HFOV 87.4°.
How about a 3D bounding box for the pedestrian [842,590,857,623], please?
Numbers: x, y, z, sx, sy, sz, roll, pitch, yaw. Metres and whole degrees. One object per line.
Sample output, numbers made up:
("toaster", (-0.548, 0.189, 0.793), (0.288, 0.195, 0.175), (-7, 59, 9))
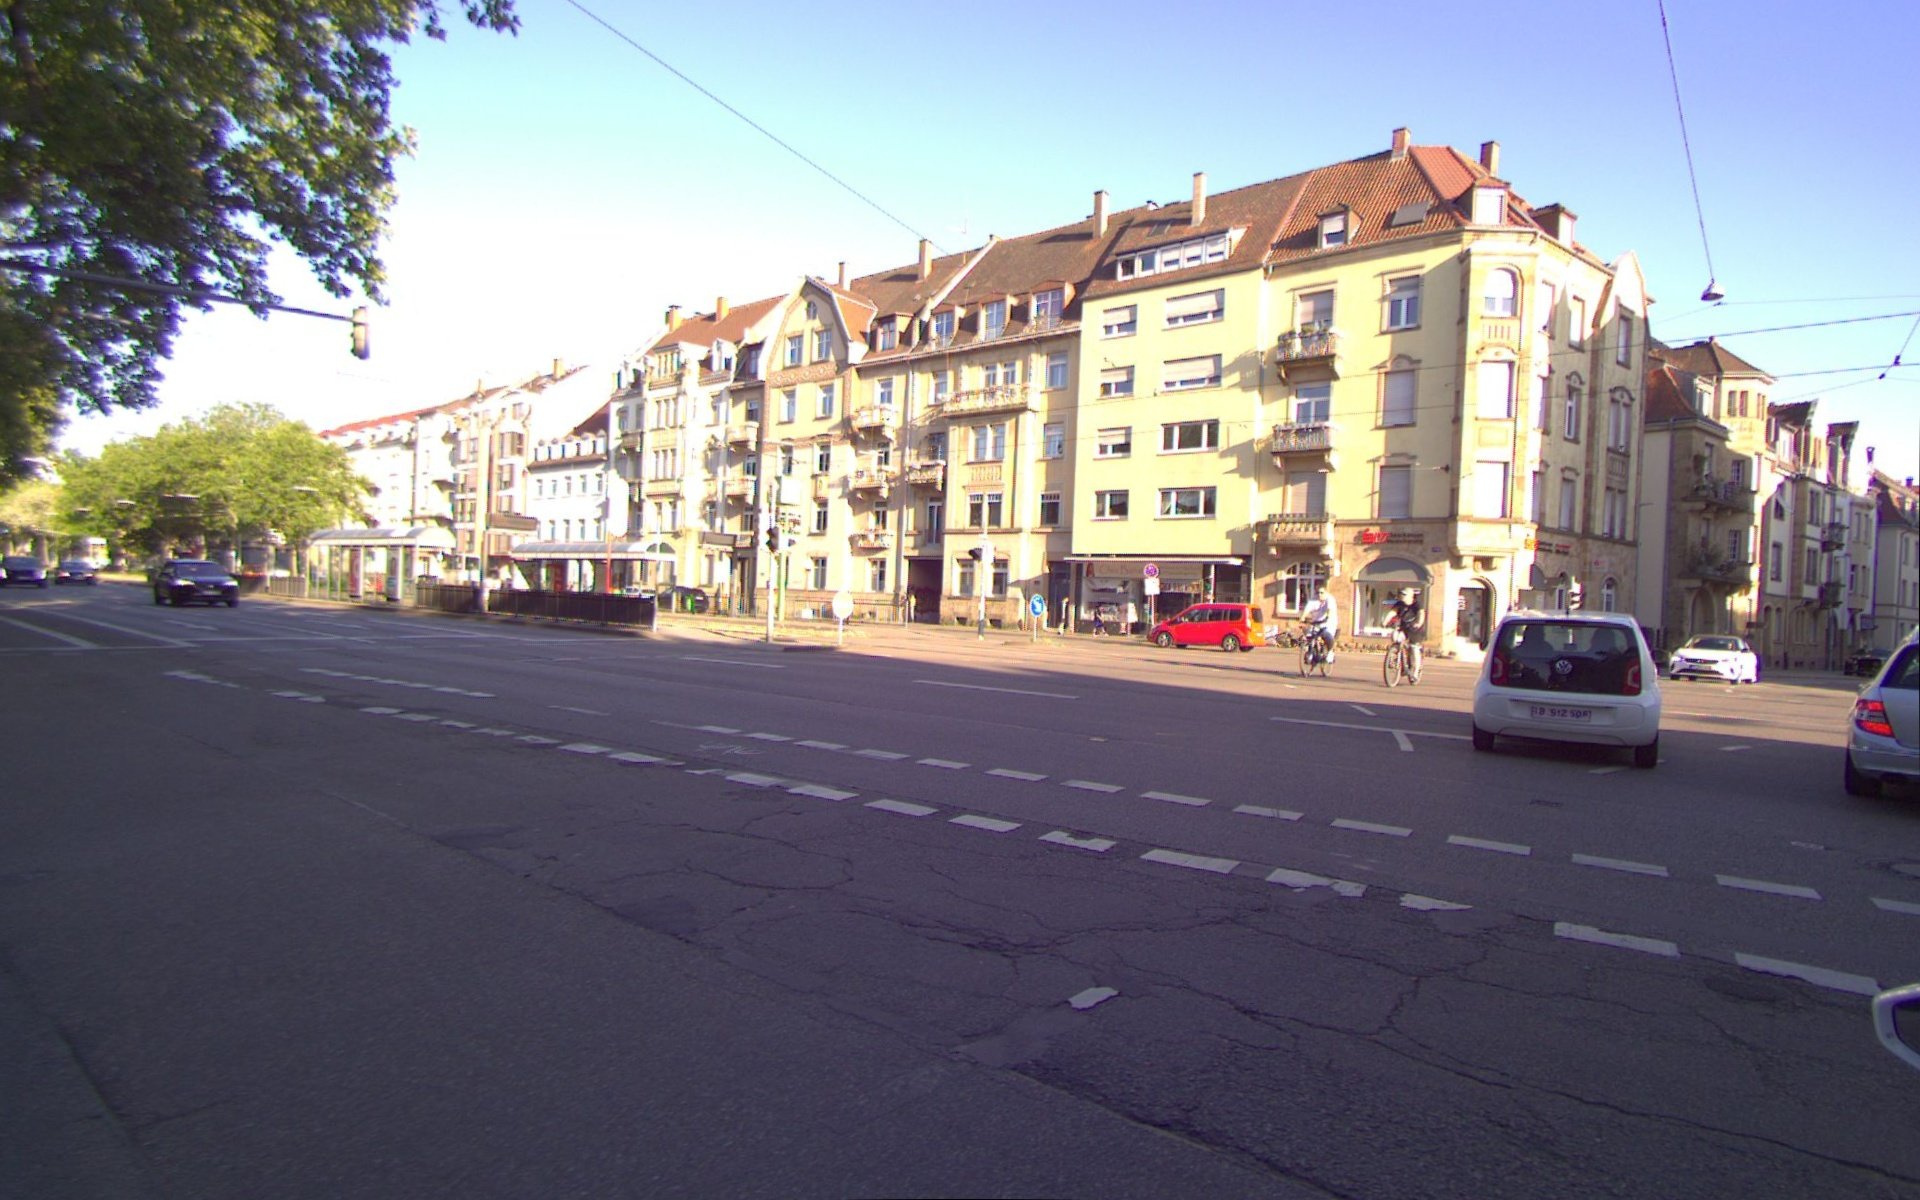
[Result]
("pedestrian", (-6.396, 0.388, 58.177), (0.470, 1.862, 0.637), (4, 1, 42))

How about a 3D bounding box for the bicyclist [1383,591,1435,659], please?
("bicyclist", (8.138, 0.454, 18.201), (0.603, 1.173, 0.763), (4, 1, 43))

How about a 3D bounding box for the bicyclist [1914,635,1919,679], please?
("bicyclist", (33.655, 2.002, 34.945), (0.603, 1.513, 0.763), (4, 1, 43))

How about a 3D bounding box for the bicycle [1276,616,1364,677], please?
("bicycle", (7.198, 0.924, 20.004), (0.643, 1.119, 2.538), (4, 0, 43))

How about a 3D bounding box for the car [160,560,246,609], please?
("car", (-27.237, -0.570, 36.109), (3.945, 1.617, 1.868), (2, 0, 44))

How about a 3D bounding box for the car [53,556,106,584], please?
("car", (-53.892, -1.844, 61.445), (3.940, 1.617, 1.871), (2, 0, 40))

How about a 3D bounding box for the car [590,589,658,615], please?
("car", (-21.562, 0.156, 64.492), (1.917, 1.483, 3.693), (4, 0, 35))

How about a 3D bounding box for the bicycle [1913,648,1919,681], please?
("bicycle", (33.686, 2.256, 34.992), (0.612, 1.119, 2.538), (4, 0, 43))

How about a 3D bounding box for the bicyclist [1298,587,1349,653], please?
("bicyclist", (7.259, 0.401, 20.032), (0.651, 1.252, 0.763), (4, 1, 43))

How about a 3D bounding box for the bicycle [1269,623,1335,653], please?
("bicycle", (13.995, 1.548, 41.177), (2.463, 1.070, 0.665), (2, 0, 37))

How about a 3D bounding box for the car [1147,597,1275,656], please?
("car", (9.528, 0.974, 38.213), (4.241, 1.925, 1.913), (4, 1, 38))

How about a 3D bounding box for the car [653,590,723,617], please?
("car", (-16.633, 0.234, 61.497), (1.917, 1.483, 3.693), (4, 0, 35))

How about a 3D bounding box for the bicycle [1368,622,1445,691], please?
("bicycle", (8.113, 0.987, 18.200), (0.643, 1.120, 1.913), (4, 2, 43))

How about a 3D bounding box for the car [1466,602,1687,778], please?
("car", (6.766, 0.859, 11.143), (1.707, 1.499, 3.806), (3, 0, 31))

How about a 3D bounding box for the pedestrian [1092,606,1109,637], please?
("pedestrian", (6.536, 0.997, 46.731), (0.547, 1.380, 0.551), (3, 0, 40))

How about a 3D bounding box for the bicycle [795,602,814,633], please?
("bicycle", (-9.048, 1.033, 58.483), (0.876, 1.760, 0.557), (4, 1, 44))

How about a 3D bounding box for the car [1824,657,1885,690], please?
("car", (50.697, 4.145, 56.909), (3.964, 1.637, 1.816), (3, 0, -38))

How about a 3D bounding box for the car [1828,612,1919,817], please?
("car", (8.904, 0.907, 8.572), (4.141, 1.497, 1.716), (1, 2, -42))

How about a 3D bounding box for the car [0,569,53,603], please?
("car", (-49.085, -0.765, 52.756), (3.945, 1.617, 1.868), (2, 0, 44))

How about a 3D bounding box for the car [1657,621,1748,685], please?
("car", (22.808, 1.581, 30.978), (1.804, 1.728, 3.991), (3, 0, 31))

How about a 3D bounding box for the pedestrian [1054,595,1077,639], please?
("pedestrian", (5.004, 0.784, 47.534), (0.763, 2.040, 0.661), (2, 0, -42))
